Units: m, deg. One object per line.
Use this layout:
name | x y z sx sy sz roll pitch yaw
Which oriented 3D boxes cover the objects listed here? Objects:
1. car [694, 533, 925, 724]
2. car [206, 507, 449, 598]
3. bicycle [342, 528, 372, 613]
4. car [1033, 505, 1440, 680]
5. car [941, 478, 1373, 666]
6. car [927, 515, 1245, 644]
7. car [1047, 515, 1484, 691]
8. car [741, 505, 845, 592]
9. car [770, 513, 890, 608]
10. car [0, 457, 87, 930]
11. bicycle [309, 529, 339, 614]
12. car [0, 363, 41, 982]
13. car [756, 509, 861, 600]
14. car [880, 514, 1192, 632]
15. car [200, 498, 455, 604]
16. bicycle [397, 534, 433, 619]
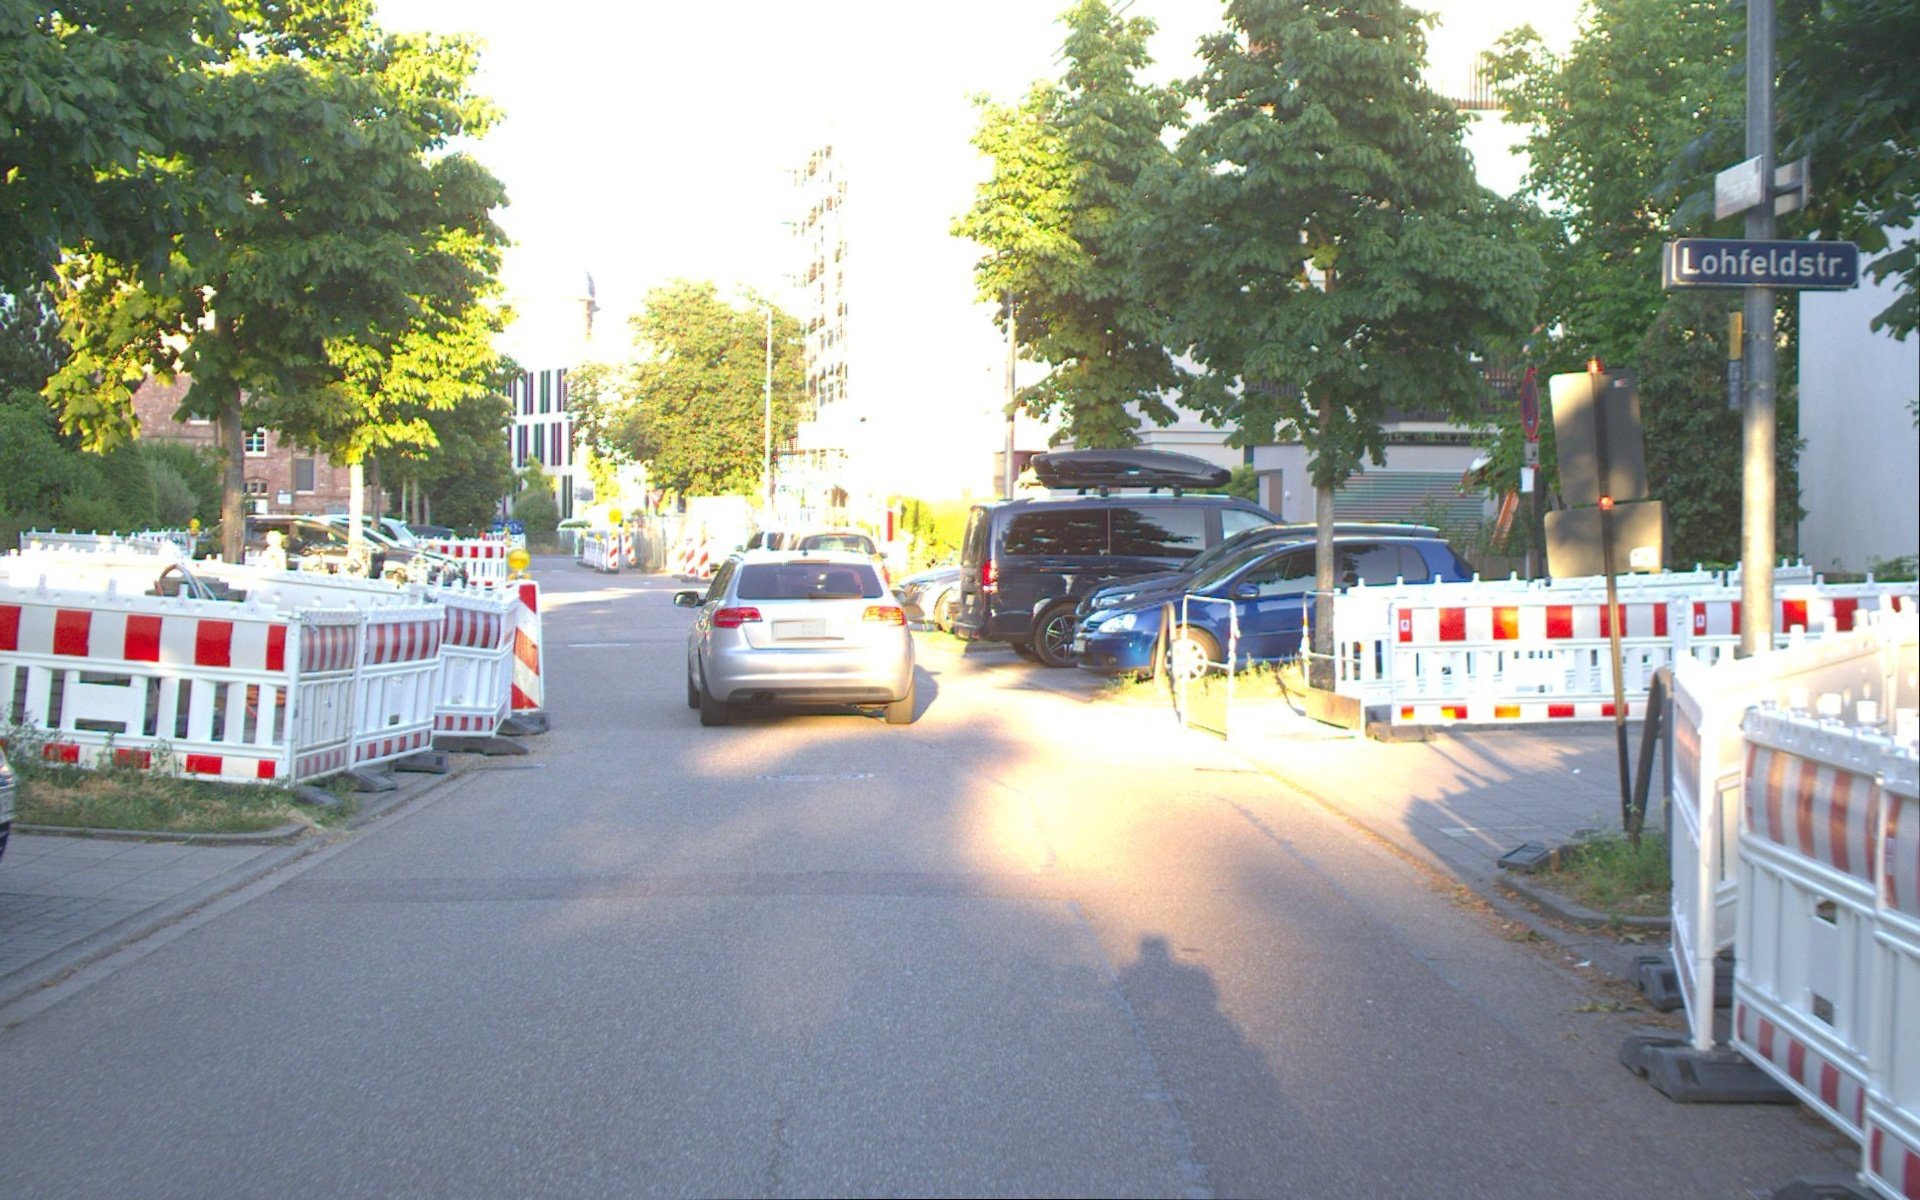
car | -1.272 0.184 29.061 1.807 1.483 4.001 0 1 -3
car | -10.710 -0.823 58.412 3.986 1.475 2.001 0 2 -9
bicycle | -9.012 -0.453 51.400 0.406 1.223 1.988 1 2 -10
car | 2.941 -0.095 37.069 3.986 1.762 2.001 1 1 -9
car | 2.217 -0.334 39.471 4.555 2.016 2.102 1 1 -9
car | 1.693 -0.295 46.841 3.938 1.643 1.977 1 2 -12
car | 3.027 0.015 34.410 3.986 1.645 1.765 1 1 -12
car | -3.303 -1.029 67.383 1.808 1.607 3.582 1 2 -6
car | -2.185 -0.673 56.993 1.730 1.478 3.558 1 2 -6
car | -5.560 0.290 13.201 3.986 1.746 1.800 1 1 -3
bicycle | -9.518 -0.441 51.472 0.406 1.223 1.988 1 2 -10
car | -5.469 0.206 10.532 4.771 2.007 2.000 1 1 -2
car | -2.782 -0.850 62.530 1.663 1.568 3.441 1 2 -6
car | 1.067 -0.393 49.241 4.148 1.566 1.798 1 2 -12
car | -10.262 -0.812 56.008 3.986 1.620 2.001 1 1 -9
bicycle | -8.167 -0.362 51.489 0.405 1.223 1.988 1 2 -12
